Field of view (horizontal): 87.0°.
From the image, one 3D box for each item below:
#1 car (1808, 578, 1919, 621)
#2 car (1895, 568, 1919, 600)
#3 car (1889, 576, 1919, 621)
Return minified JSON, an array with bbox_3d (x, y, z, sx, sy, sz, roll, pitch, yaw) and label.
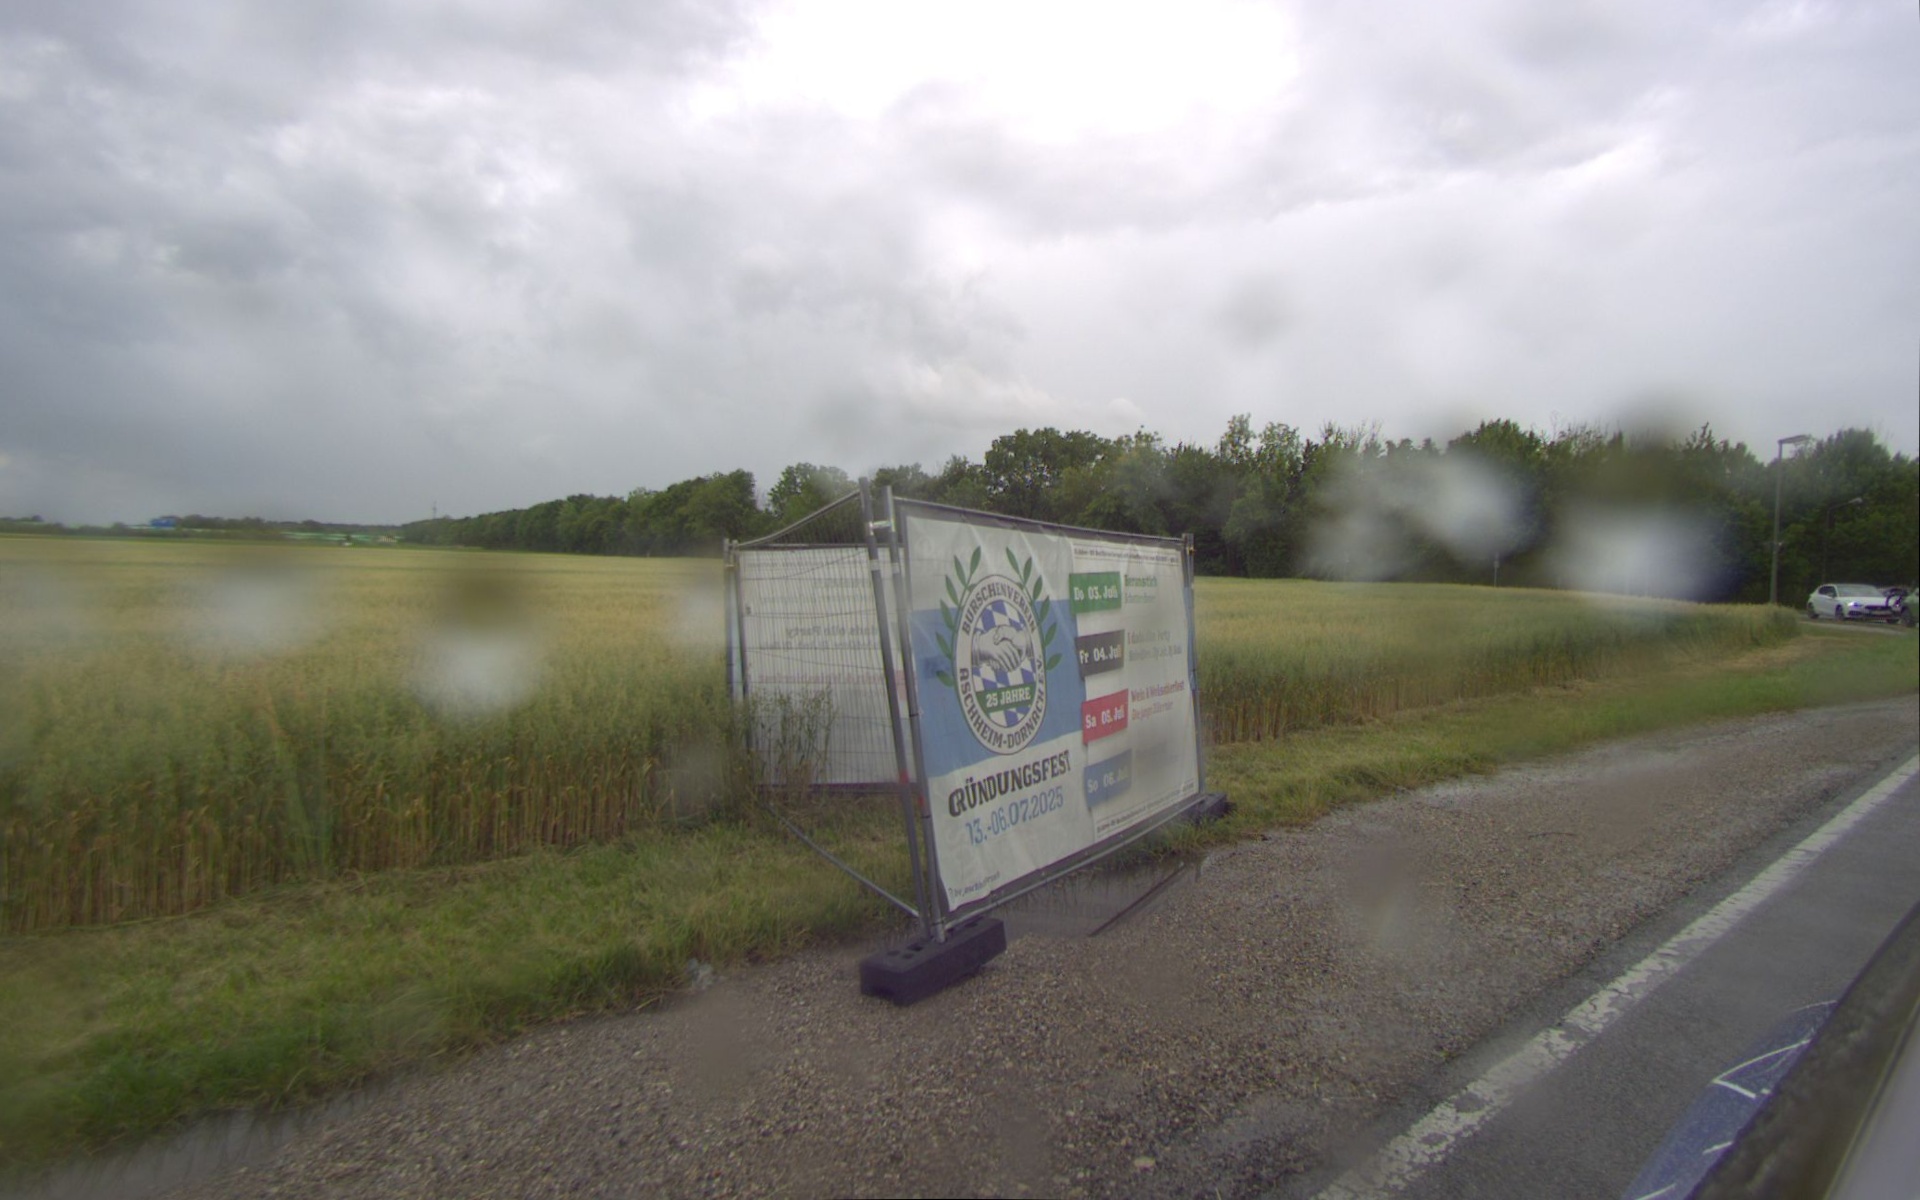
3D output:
[{"bbox_3d":[35.064,-0.052,39.134,1.868,1.550,4.476,1,1,18],"label":"car"},{"bbox_3d":[49.044,-0.752,49.540,4.429,1.550,1.888,1,1,10],"label":"car"},{"bbox_3d":[33.329,-0.016,33.416,1.868,1.550,5.225,1,1,18],"label":"car"}]
